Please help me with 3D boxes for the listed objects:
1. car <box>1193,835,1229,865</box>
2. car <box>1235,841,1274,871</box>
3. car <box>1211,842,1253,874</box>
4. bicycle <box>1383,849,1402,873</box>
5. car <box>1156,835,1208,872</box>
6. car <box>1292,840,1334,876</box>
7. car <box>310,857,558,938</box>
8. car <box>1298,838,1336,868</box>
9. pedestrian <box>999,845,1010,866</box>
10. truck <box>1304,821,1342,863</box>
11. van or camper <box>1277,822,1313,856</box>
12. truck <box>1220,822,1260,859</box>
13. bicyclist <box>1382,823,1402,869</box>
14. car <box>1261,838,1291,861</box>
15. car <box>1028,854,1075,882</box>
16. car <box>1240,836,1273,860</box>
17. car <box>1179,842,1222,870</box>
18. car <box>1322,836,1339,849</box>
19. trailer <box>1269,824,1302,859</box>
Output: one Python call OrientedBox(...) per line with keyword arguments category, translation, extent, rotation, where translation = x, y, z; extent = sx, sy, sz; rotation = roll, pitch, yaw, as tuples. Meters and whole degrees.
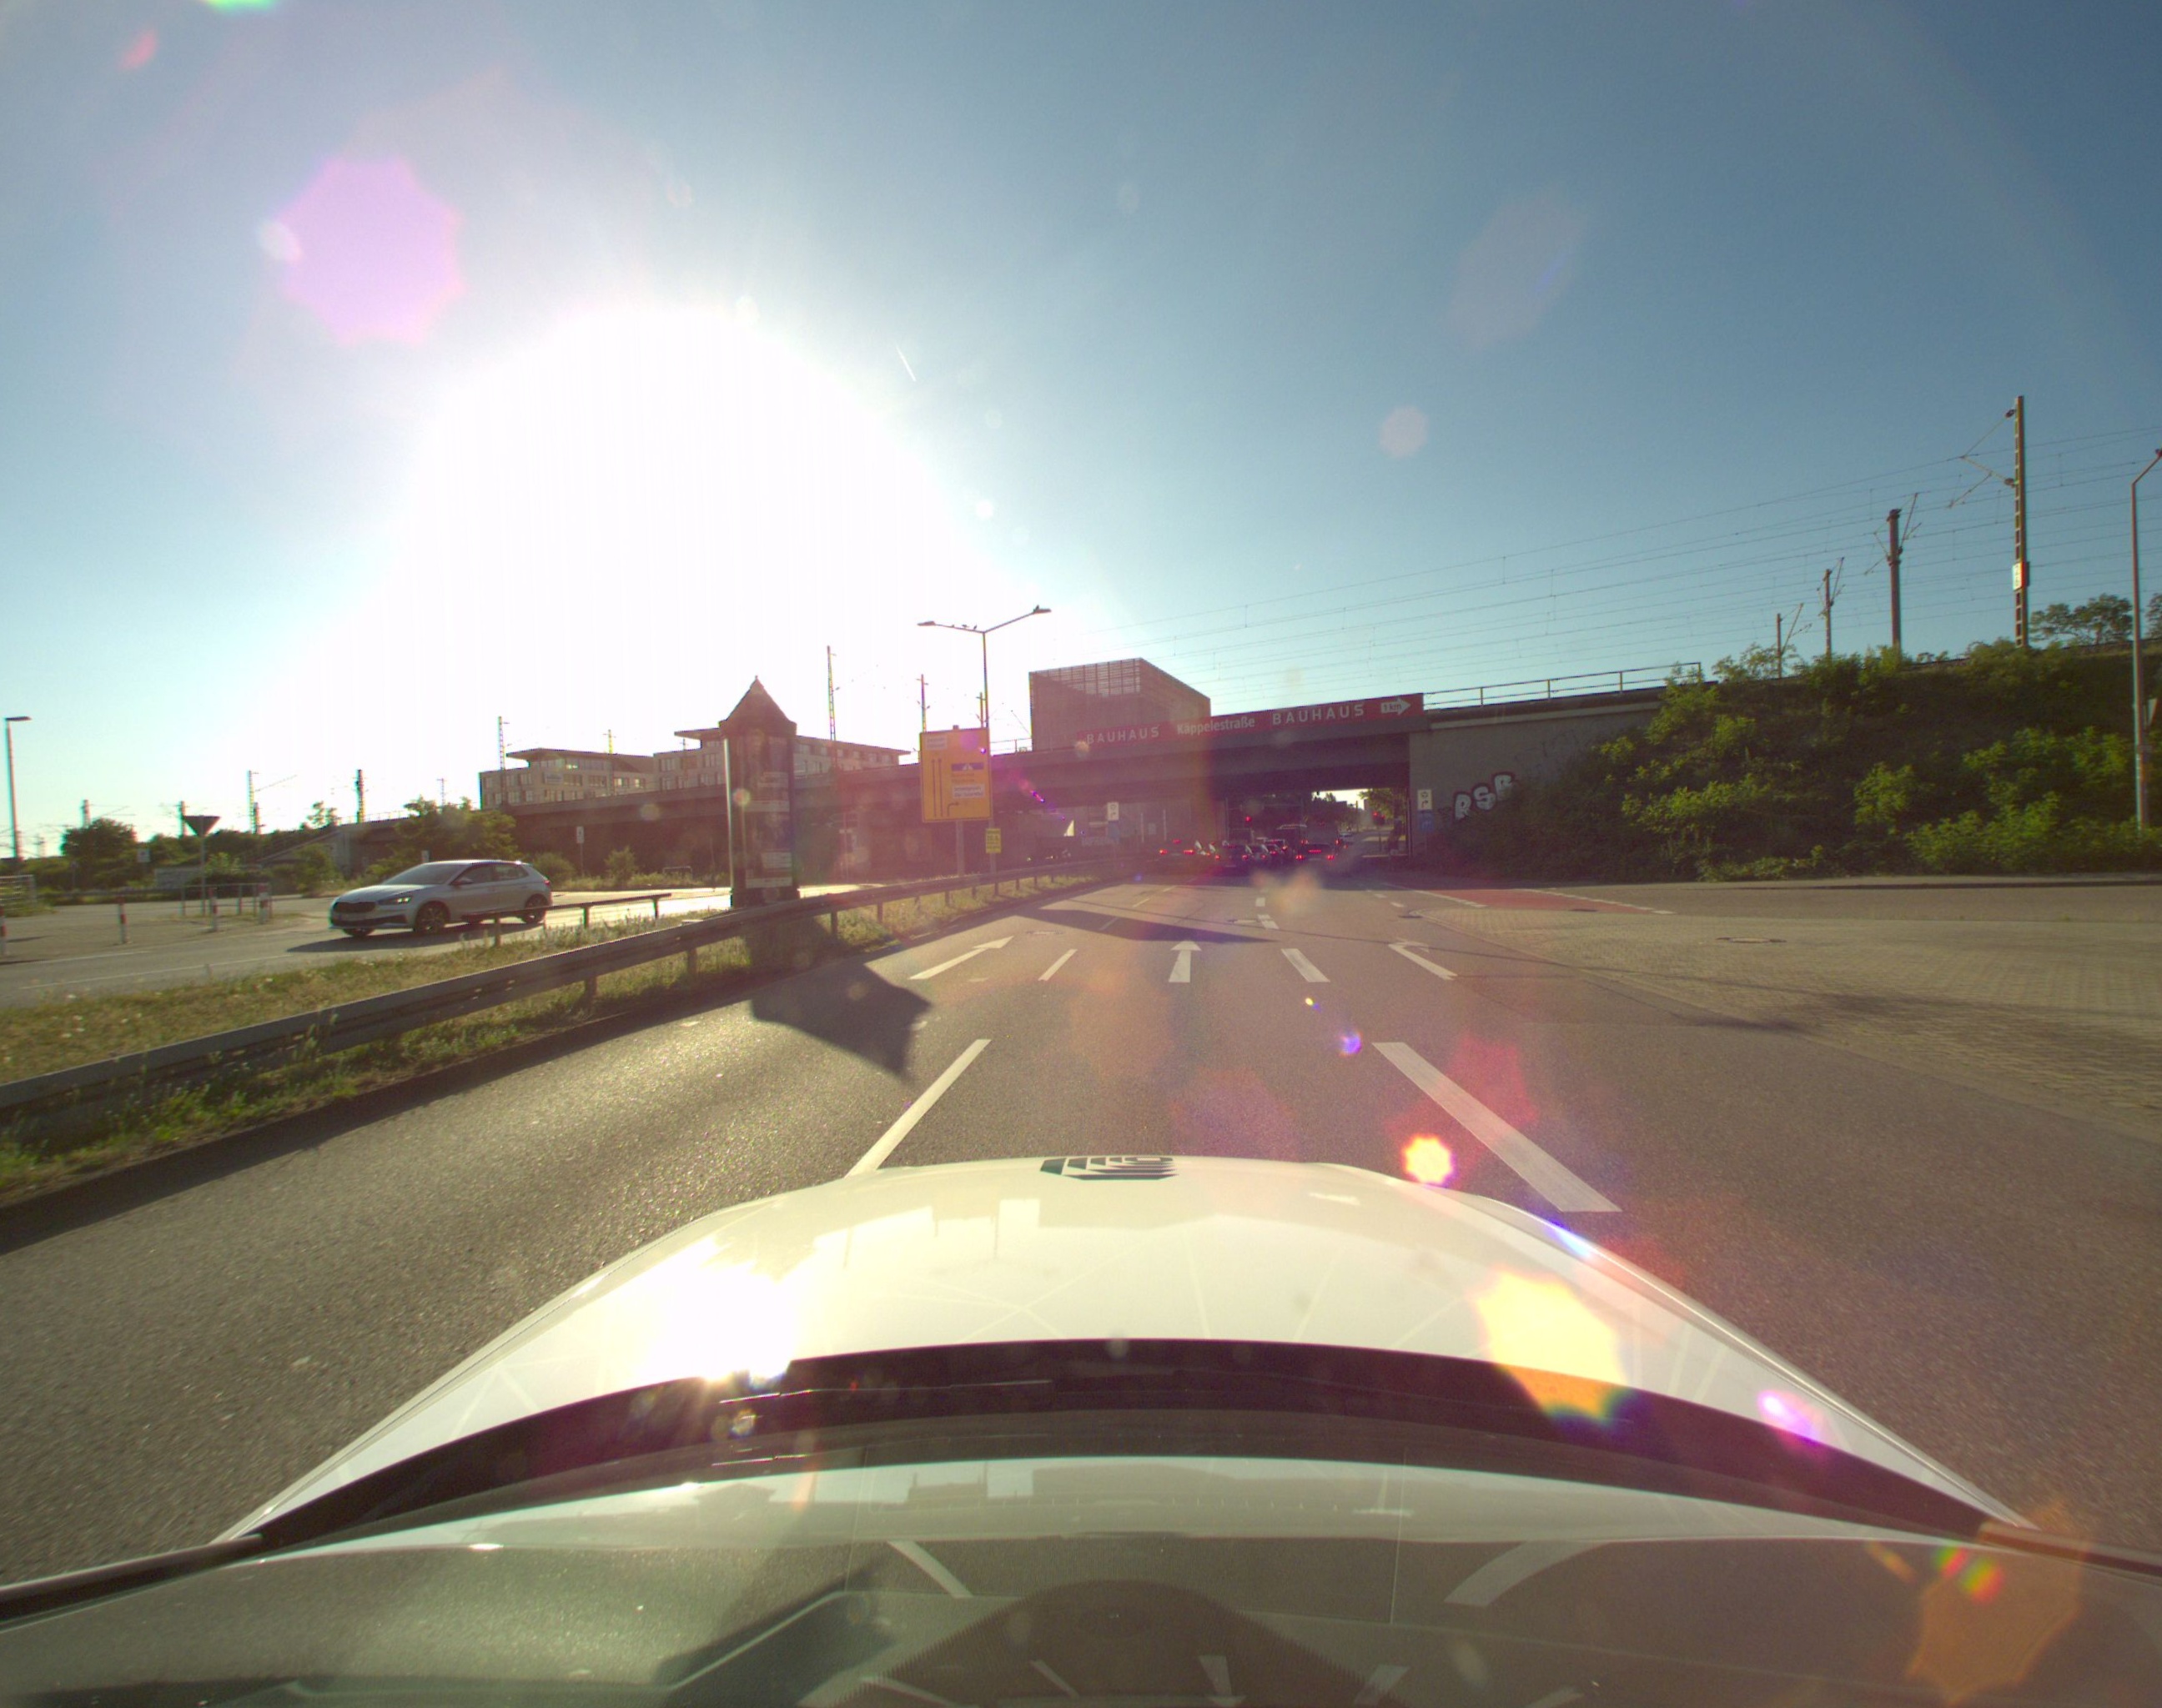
OrientedBox(category="car", translation=(8.613, -0.252, 53.673), extent=(1.828, 1.719, 4.016), rotation=(-5, -1, 14))
OrientedBox(category="car", translation=(9.251, 0.073, 43.349), extent=(1.534, 1.423, 3.434), rotation=(-5, 0, 18))
OrientedBox(category="car", translation=(7.165, 0.177, 38.408), extent=(1.570, 1.408, 3.848), rotation=(-1, 0, 15))
OrientedBox(category="bicycle", translation=(12.999, 0.266, 34.019), extent=(0.574, 0.963, 2.899), rotation=(-2, 0, 18))
OrientedBox(category="car", translation=(5.174, -0.020, 41.321), extent=(1.815, 1.738, 4.481), rotation=(-2, 0, 17))
OrientedBox(category="car", translation=(10.708, 0.124, 37.505), extent=(1.727, 1.454, 4.627), rotation=(-1, 2, 17))
OrientedBox(category="car", translation=(-13.267, 0.821, 17.077), extent=(1.664, 1.462, 4.111), rotation=(-2, -1, 5))
OrientedBox(category="car", translation=(13.107, -0.079, 45.028), extent=(1.758, 1.495, 3.850), rotation=(-3, -1, 19))
OrientedBox(category="pedestrian", translation=(-6.691, 0.130, 71.395), extent=(0.688, 1.903, 0.668), rotation=(-2, 0, 21))
OrientedBox(category="truck", translation=(15.560, -0.759, 52.187), extent=(2.094, 2.519, 4.422), rotation=(-3, 0, 18))
OrientedBox(category="van or camper", translation=(17.609, -1.208, 66.799), extent=(1.976, 2.570, 5.951), rotation=(-1, 0, 24))
OrientedBox(category="truck", translation=(11.882, -0.976, 60.687), extent=(2.011, 2.556, 5.565), rotation=(-1, 0, 20))
OrientedBox(category="bicyclist", translation=(12.981, -0.328, 34.012), extent=(0.676, 1.907, 0.837), rotation=(-1, 0, 18))
OrientedBox(category="car", translation=(13.320, -0.294, 55.609), extent=(1.568, 1.532, 3.851), rotation=(-1, 0, 19))
OrientedBox(category="car", translation=(-1.879, 0.879, 53.136), extent=(1.833, 1.603, 4.410), rotation=(-5, -1, 13))
OrientedBox(category="car", translation=(14.770, -0.529, 68.360), extent=(1.976, 1.901, 4.021), rotation=(-2, 0, 21))
OrientedBox(category="car", translation=(7.013, 0.092, 47.503), extent=(1.827, 1.440, 3.691), rotation=(-5, -1, 16))
OrientedBox(category="car", translation=(31.359, -1.437, 102.412), extent=(1.785, 1.604, 4.020), rotation=(-2, 0, 20))
OrientedBox(category="trailer", translation=(15.503, -0.944, 61.656), extent=(1.848, 2.465, 3.852), rotation=(-3, -1, 21))
